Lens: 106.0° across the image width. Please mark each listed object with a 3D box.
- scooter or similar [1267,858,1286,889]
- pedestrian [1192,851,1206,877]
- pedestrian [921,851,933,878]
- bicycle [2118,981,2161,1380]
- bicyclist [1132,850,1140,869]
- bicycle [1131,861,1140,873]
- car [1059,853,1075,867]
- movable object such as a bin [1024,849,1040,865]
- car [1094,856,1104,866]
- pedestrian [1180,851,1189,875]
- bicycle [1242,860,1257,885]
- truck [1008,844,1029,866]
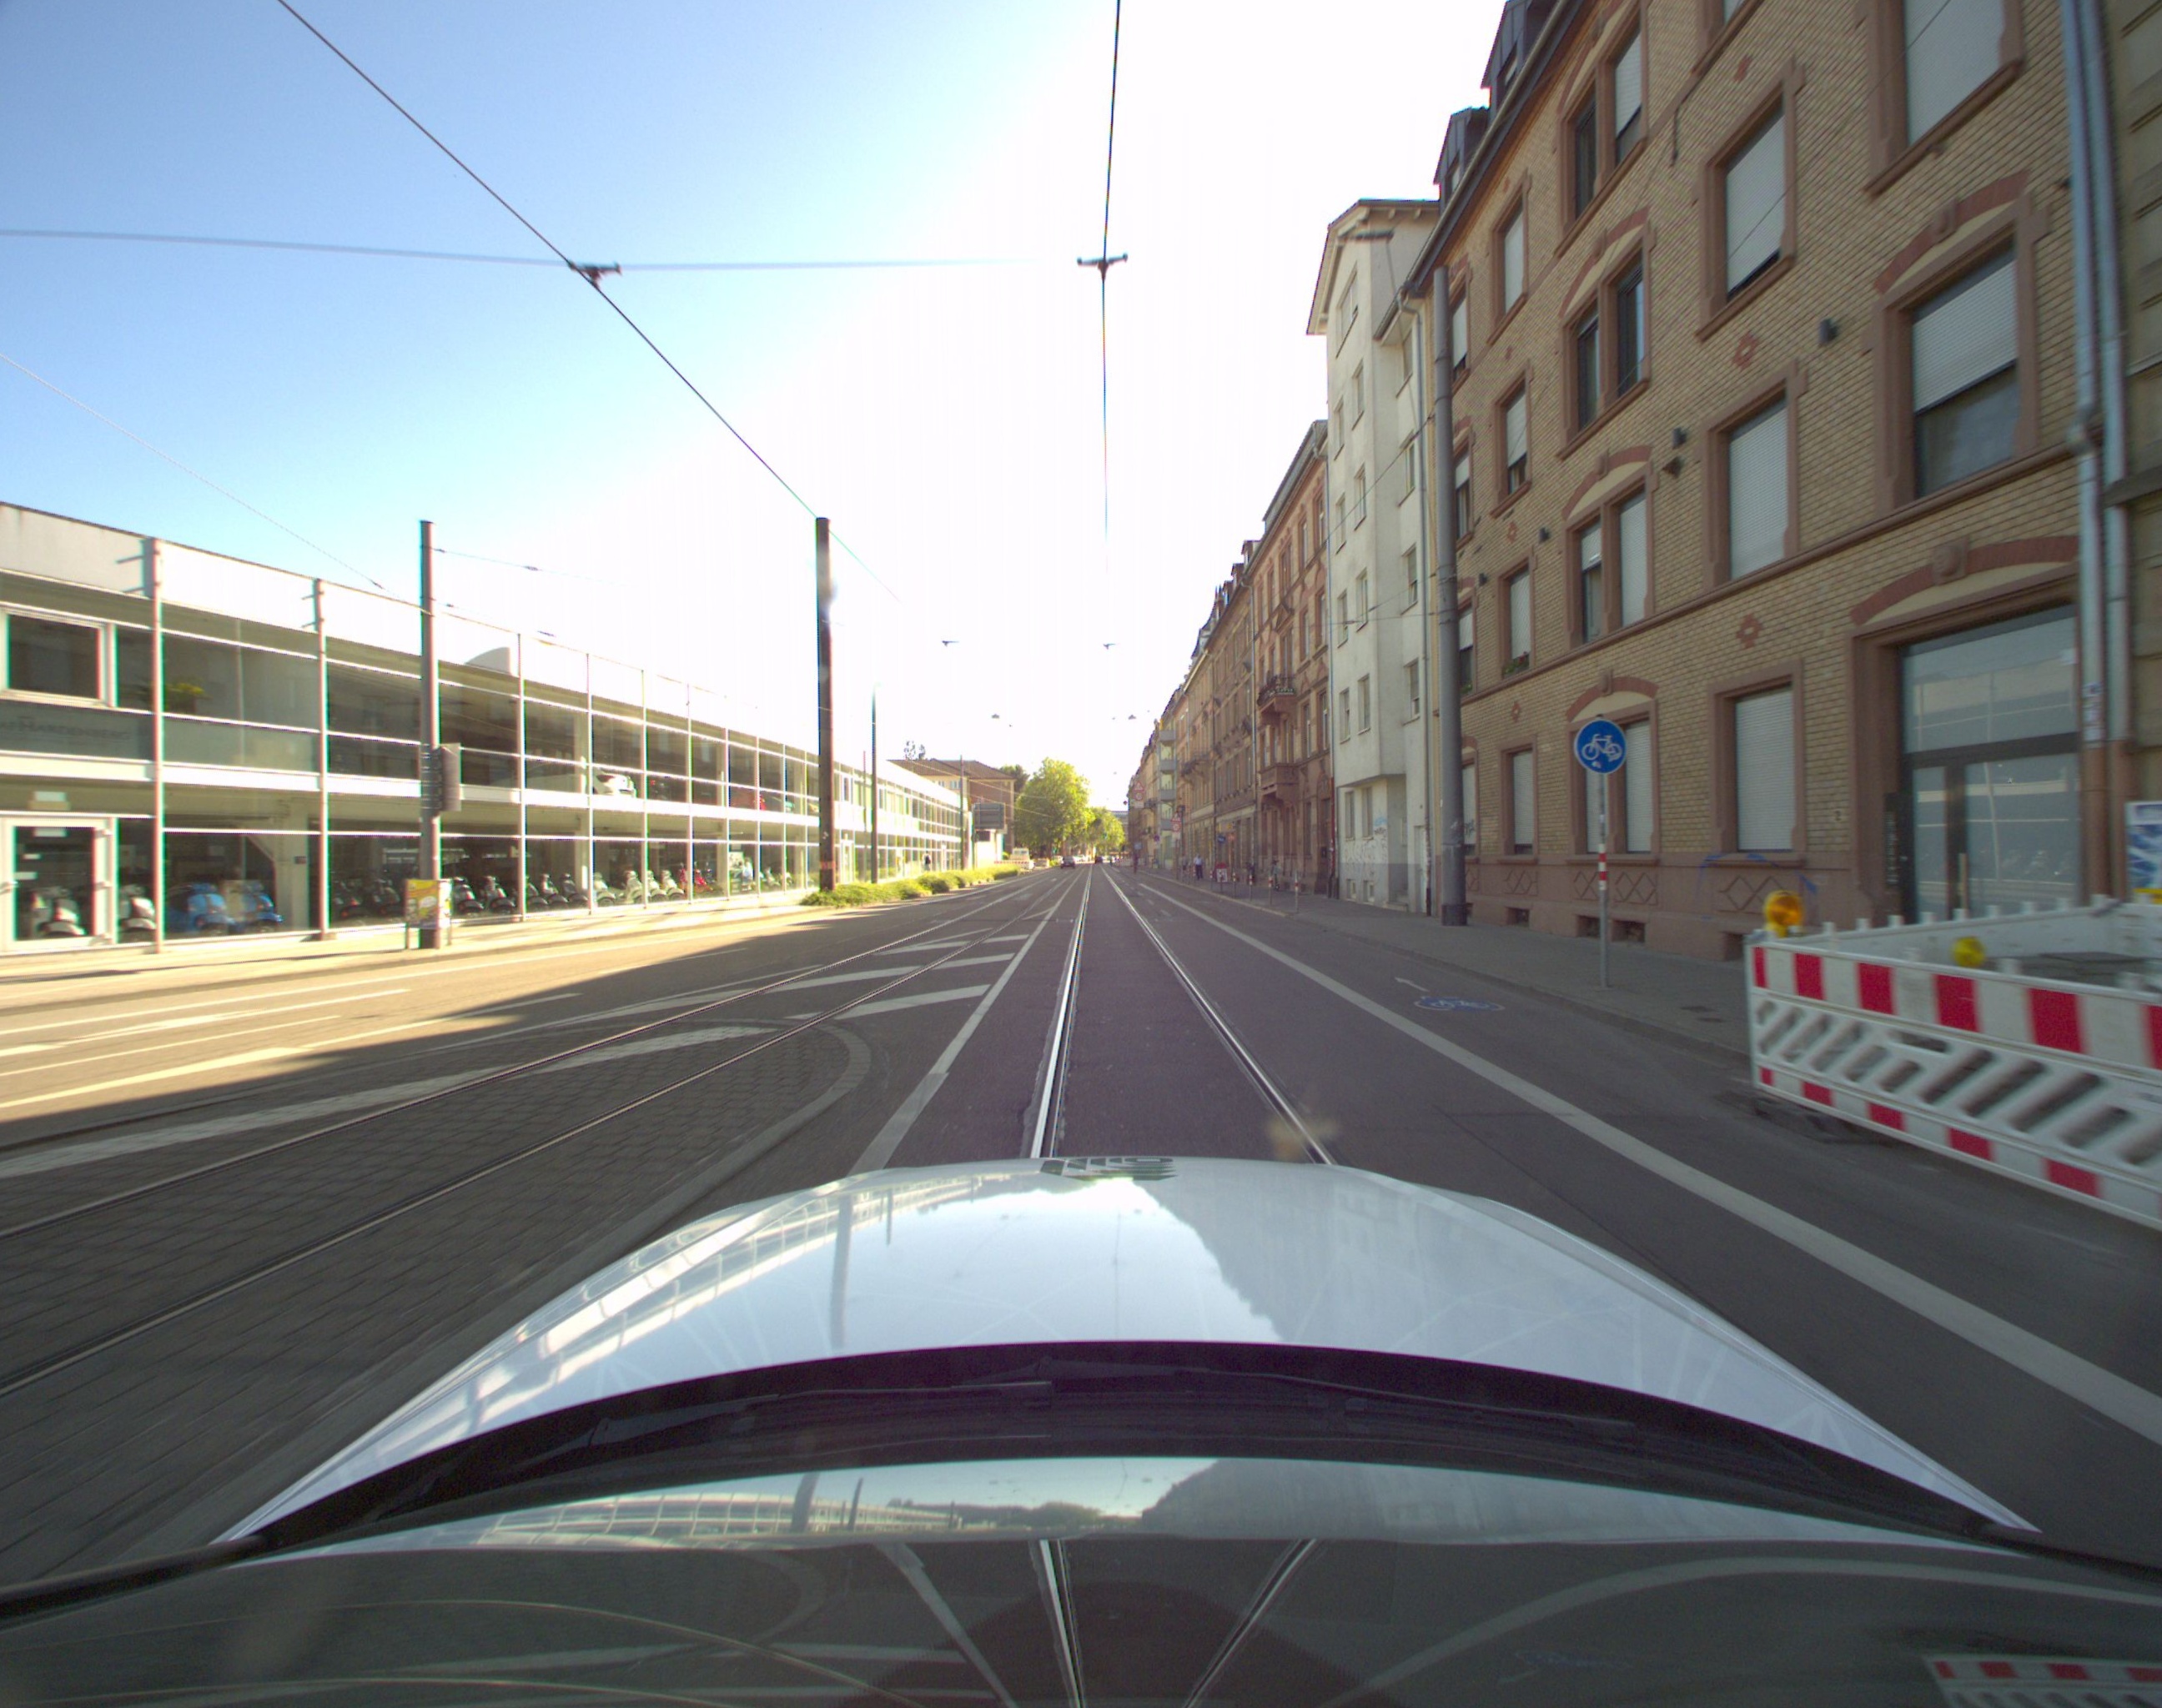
[{"bbox_3d":[7.855,0.763,32.746,0.405,1.211,1.480,-2,-1,1],"label":"scooter or similar"},{"bbox_3d":[7.362,0.624,50.725,0.795,1.605,0.653,-1,-1,3],"label":"pedestrian"},{"bbox_3d":[-10.148,0.692,53.607,0.525,1.765,1.051,1,-1,1],"label":"pedestrian"},{"bbox_3d":[3.317,0.959,1.431,0.529,1.117,1.935,1,1,1],"label":"bicycle"},{"bbox_3d":[4.959,0.542,73.912,0.665,1.697,1.043,1,-1,0],"label":"bicyclist"},{"bbox_3d":[4.945,1.166,73.617,0.678,1.114,2.707,1,0,1],"label":"bicycle"},{"bbox_3d":[-1.775,0.802,104.541,1.752,1.697,4.145,1,-1,2],"label":"car"},{"bbox_3d":[-8.442,0.480,140.791,2.488,2.645,5.985,1,0,-2],"label":"movable object such as a bin"},{"bbox_3d":[3.884,1.465,173.682,1.986,2.014,4.001,1,-1,1],"label":"car"},{"bbox_3d":[7.425,0.624,58.487,0.550,1.701,0.474,-3,-1,5],"label":"pedestrian"},{"bbox_3d":[8.024,0.883,38.850,0.408,1.121,1.900,-2,-1,5],"label":"bicycle"},{"bbox_3d":[-8.367,0.164,109.615,2.532,2.830,6.369,1,-1,-3],"label":"truck"}]
